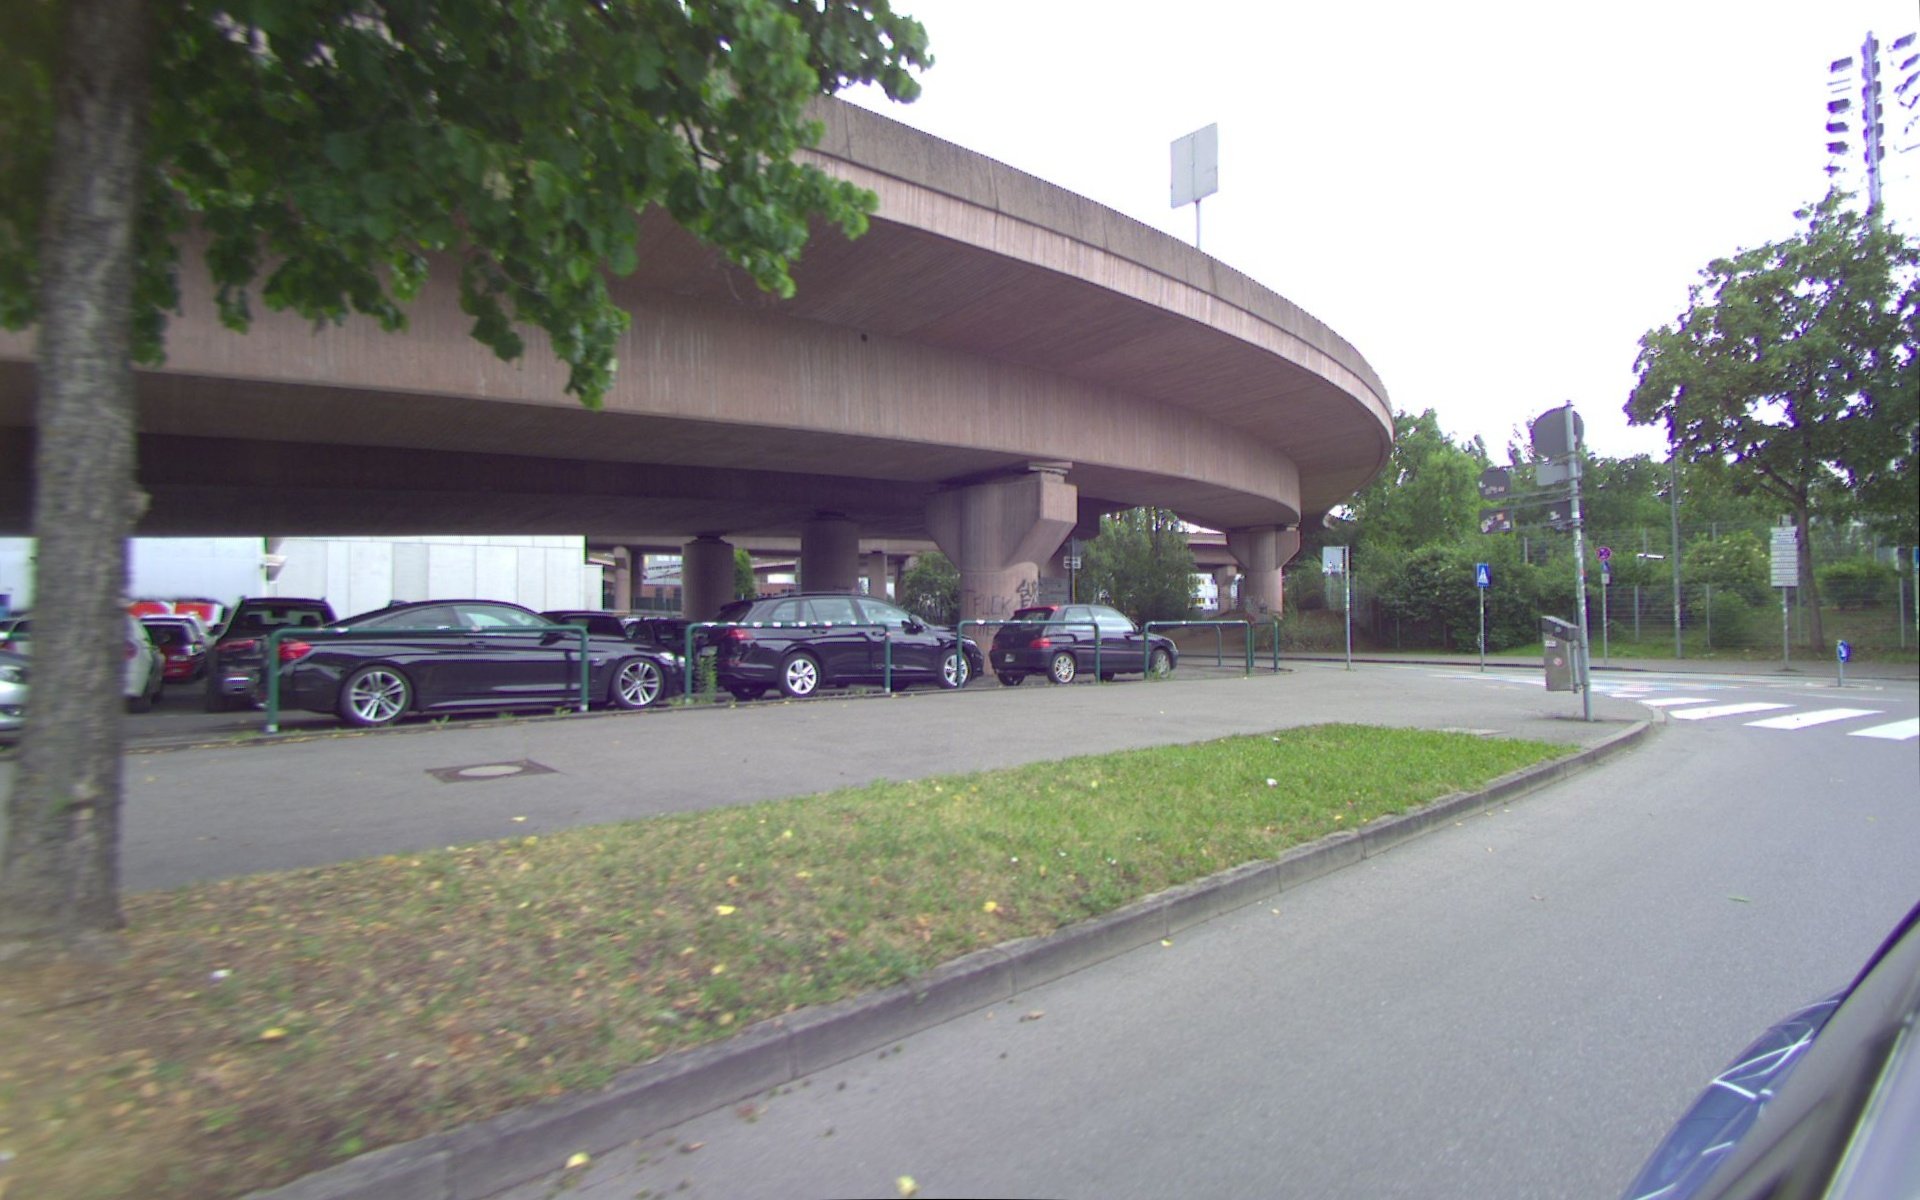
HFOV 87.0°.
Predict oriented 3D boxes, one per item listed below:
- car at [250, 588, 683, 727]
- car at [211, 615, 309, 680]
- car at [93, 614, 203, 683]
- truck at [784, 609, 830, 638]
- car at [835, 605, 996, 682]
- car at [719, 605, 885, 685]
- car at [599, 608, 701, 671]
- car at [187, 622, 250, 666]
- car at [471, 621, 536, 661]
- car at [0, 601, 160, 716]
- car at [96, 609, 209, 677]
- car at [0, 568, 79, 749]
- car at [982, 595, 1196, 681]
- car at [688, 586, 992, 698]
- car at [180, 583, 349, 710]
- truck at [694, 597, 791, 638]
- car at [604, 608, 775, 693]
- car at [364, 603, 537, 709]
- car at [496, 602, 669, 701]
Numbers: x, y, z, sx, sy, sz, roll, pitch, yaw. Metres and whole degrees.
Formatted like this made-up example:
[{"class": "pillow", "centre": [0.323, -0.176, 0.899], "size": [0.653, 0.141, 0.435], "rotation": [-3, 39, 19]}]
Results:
[{"class": "car", "centre": [-5.632, 0.594, 11.801], "size": [4.292, 1.339, 1.771], "rotation": [0, -2, -37]}, {"class": "car", "centre": [-17.008, 1.126, 24.646], "size": [1.803, 1.446, 3.861], "rotation": [1, -2, -35]}, {"class": "car", "centre": [-18.541, 1.070, 23.244], "size": [1.647, 1.446, 3.861], "rotation": [1, -2, -35]}, {"class": "truck", "centre": [-15.237, 2.346, 101.425], "size": [2.386, 2.779, 7.211], "rotation": [-1, -2, 10]}, {"class": "car", "centre": [-1.090, 0.948, 22.808], "size": [1.609, 1.572, 4.007], "rotation": [1, -2, -38]}, {"class": "car", "centre": [-3.390, 0.913, 21.242], "size": [1.668, 1.529, 3.855], "rotation": [1, -2, -41]}, {"class": "car", "centre": [-9.226, 1.146, 29.949], "size": [1.803, 1.720, 3.861], "rotation": [1, -2, -35]}, {"class": "car", "centre": [-28.343, 1.650, 38.782], "size": [1.803, 1.613, 4.191], "rotation": [1, -2, -35]}, {"class": "car", "centre": [-19.539, 1.737, 43.188], "size": [1.803, 1.613, 4.191], "rotation": [1, -2, -35]}, {"class": "car", "centre": [-12.888, 0.800, 14.763], "size": [1.727, 1.453, 3.855], "rotation": [1, -2, -41]}, {"class": "car", "centre": [-22.161, 1.143, 27.969], "size": [2.051, 1.699, 5.105], "rotation": [1, -2, -35]}, {"class": "car", "centre": [-9.995, 0.517, 8.381], "size": [3.996, 1.555, 1.615], "rotation": [1, -2, -40]}, {"class": "car", "centre": [2.324, 0.662, 17.875], "size": [3.629, 1.347, 1.509], "rotation": [0, -5, -35]}, {"class": "car", "centre": [-1.659, 0.569, 14.732], "size": [4.168, 1.439, 1.509], "rotation": [0, -3, -36]}, {"class": "car", "centre": [-10.861, 0.685, 15.696], "size": [1.727, 1.716, 3.855], "rotation": [1, -2, -41]}, {"class": "truck", "centre": [-24.373, 1.987, 113.522], "size": [9.936, 4.423, 3.914], "rotation": [1, -3, -32]}, {"class": "car", "centre": [-5.255, 0.925, 19.377], "size": [1.668, 1.462, 3.855], "rotation": [1, -2, -41]}, {"class": "car", "centre": [-8.695, 0.893, 17.127], "size": [1.727, 1.576, 3.855], "rotation": [1, -2, -41]}, {"class": "car", "centre": [-6.845, 0.884, 18.157], "size": [1.668, 1.576, 3.855], "rotation": [1, -2, -41]}]
